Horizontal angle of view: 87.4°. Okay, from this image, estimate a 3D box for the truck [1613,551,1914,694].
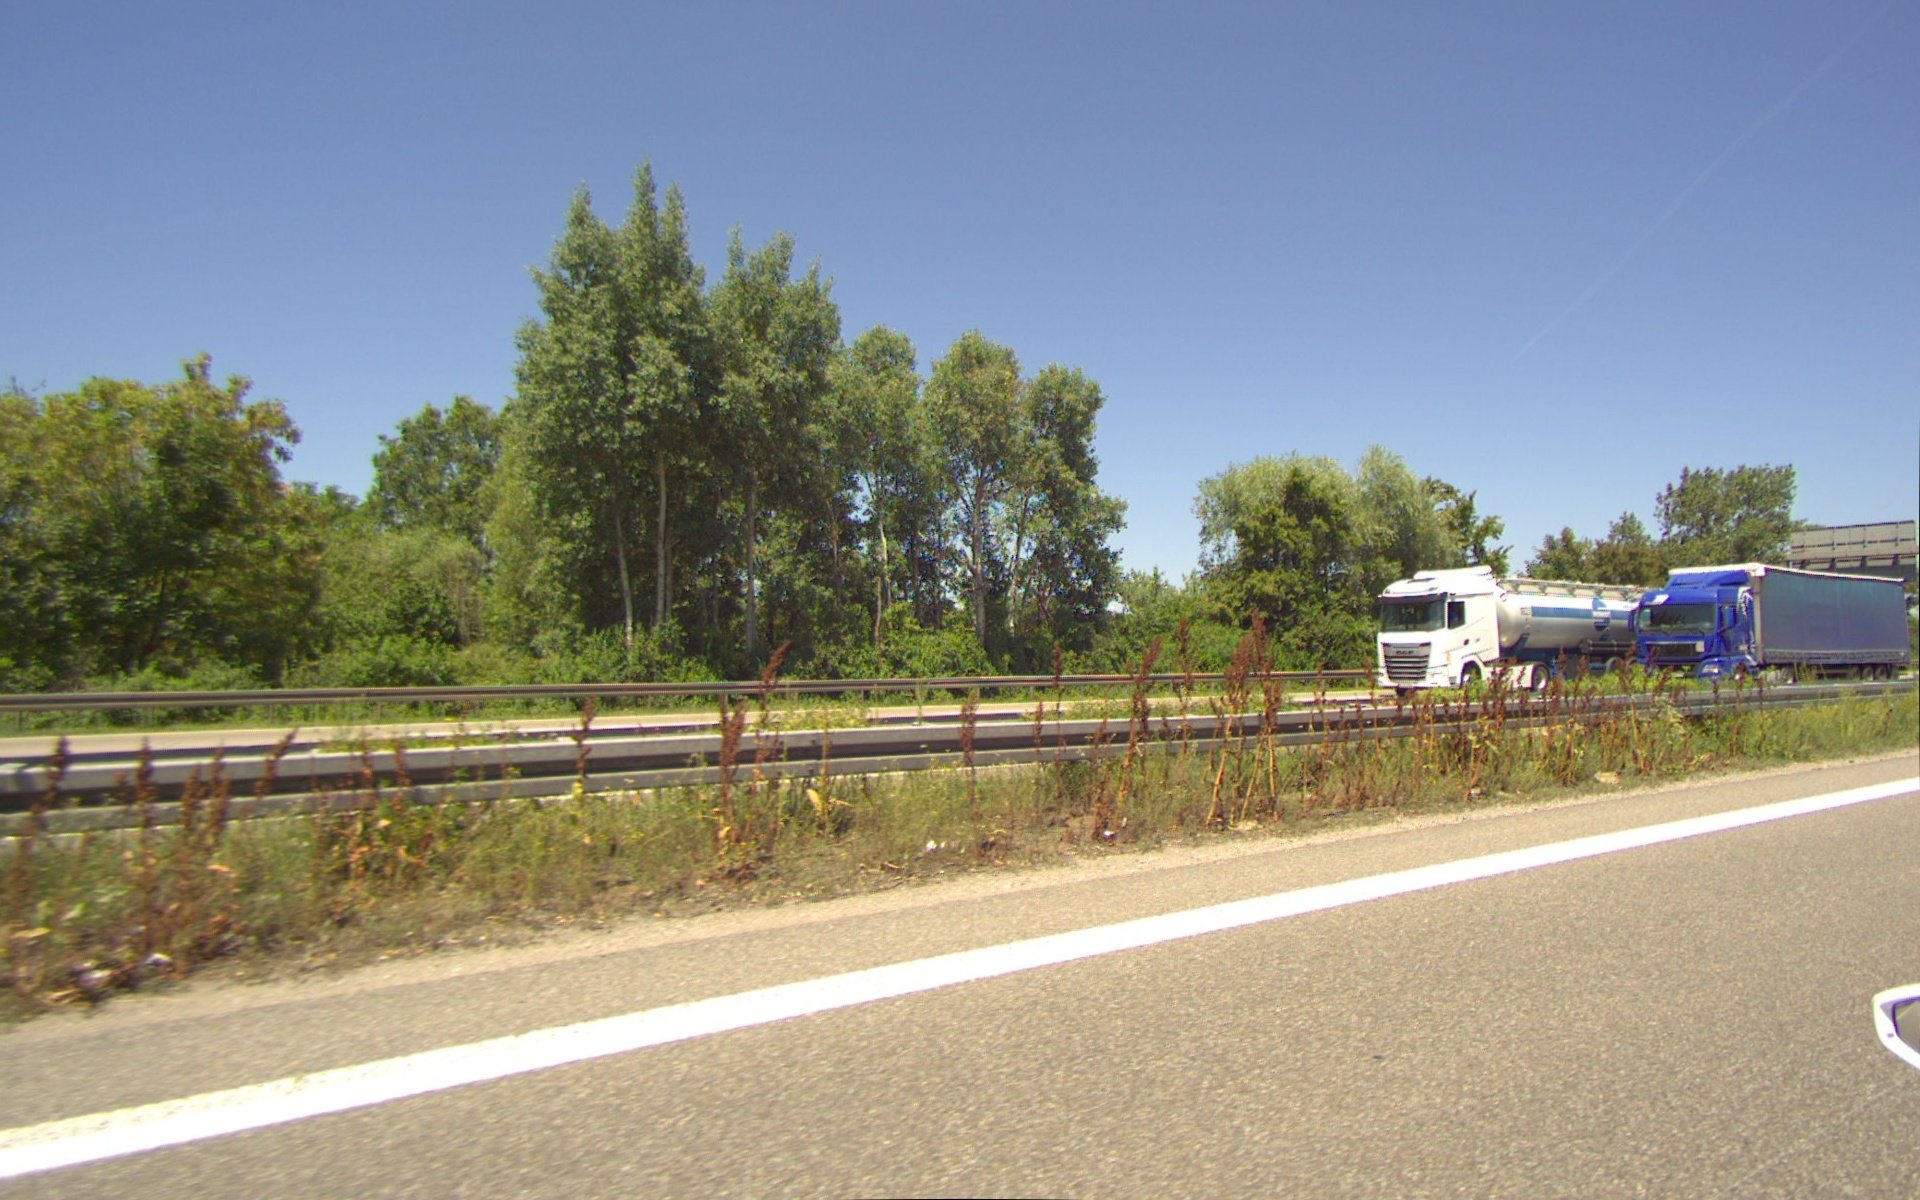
[{"bbox_3d":[29.357,0.951,36.102,16.990,4.301,2.940,2,-3,-32],"label":"truck"}]

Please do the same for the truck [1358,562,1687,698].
[{"bbox_3d":[20.323,1.154,35.486,15.644,4.071,2.940,2,-3,-32],"label":"truck"}]

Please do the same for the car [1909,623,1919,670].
[{"bbox_3d":[34.848,1.601,34.534,4.762,1.610,1.984,1,-2,-31],"label":"car"}]
